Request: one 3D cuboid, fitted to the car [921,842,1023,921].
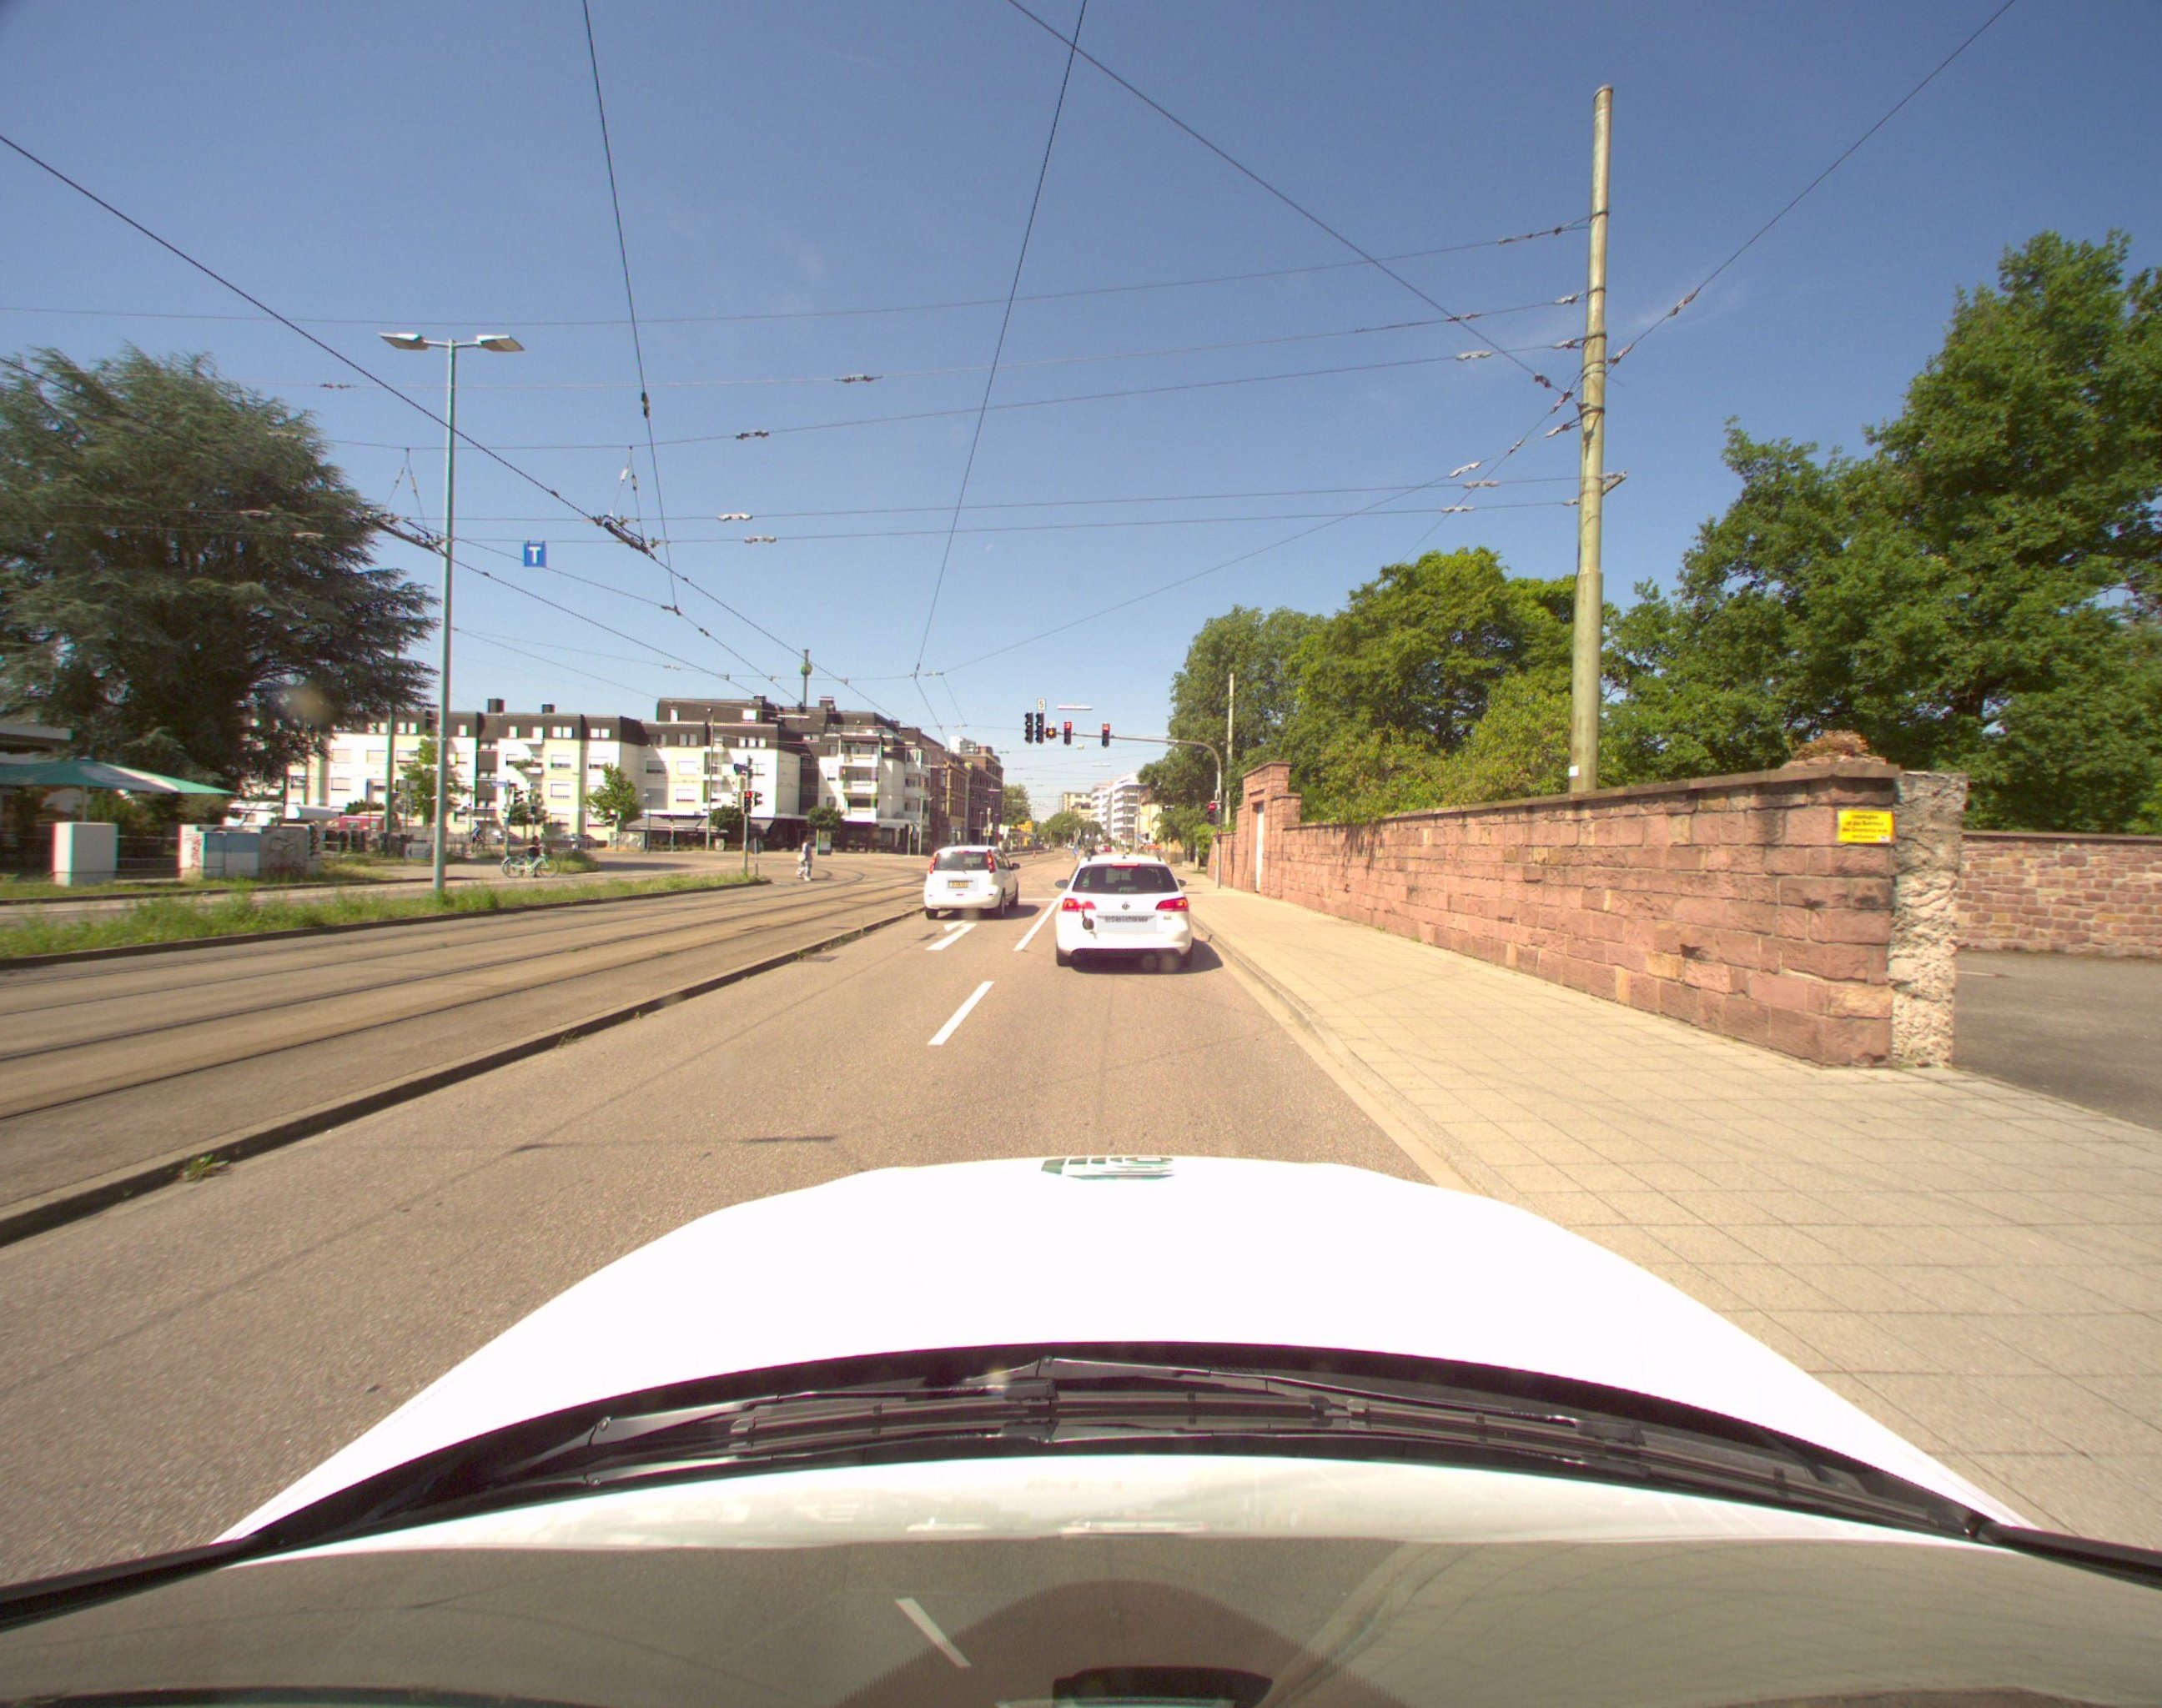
[{"bbox_3d":[-2.375,0.529,18.691,1.724,1.596,4.012,0,1,1],"label":"car"}]

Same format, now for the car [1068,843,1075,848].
[{"bbox_3d":[-2.725,-2.420,229.869,1.697,1.591,3.525,1,1,-8],"label":"car"}]

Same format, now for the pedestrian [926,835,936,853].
[{"bbox_3d":[-17.649,-1.160,95.940,0.934,2.013,0.990,1,0,-3],"label":"pedestrian"}]

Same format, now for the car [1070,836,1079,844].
[{"bbox_3d":[-2.191,-4.493,260.540,1.995,2.456,4.132,1,1,-12],"label":"car"}]

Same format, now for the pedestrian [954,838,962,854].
[{"bbox_3d":[-16.140,-1.069,107.221,0.935,2.013,0.989,1,0,-4],"label":"pedestrian"}]

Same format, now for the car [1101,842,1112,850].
[{"bbox_3d":[6.484,-2.015,207.805,1.995,2.013,3.984,1,1,-12],"label":"car"}]

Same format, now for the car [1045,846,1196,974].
[{"bbox_3d":[0.592,0.649,11.556,1.771,1.490,3.851,0,1,4],"label":"car"}]

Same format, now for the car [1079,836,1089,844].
[{"bbox_3d":[0.920,-4.201,243.762,1.996,2.013,3.982,3,1,-14],"label":"car"}]

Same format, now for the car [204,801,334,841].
[{"bbox_3d":[-49.658,-2.012,49.891,5.535,2.013,2.250,4,0,0],"label":"car"}]

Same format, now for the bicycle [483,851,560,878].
[{"bbox_3d":[-20.000,0.383,29.159,2.181,0.921,0.549,1,0,-26],"label":"bicycle"}]

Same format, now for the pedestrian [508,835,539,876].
[{"bbox_3d":[-20.242,0.045,29.573,0.817,1.487,0.561,1,0,-26],"label":"pedestrian"}]

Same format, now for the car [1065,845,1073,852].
[{"bbox_3d":[-2.703,-1.287,181.169,1.692,1.591,3.535,1,1,1],"label":"car"}]

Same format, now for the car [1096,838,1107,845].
[{"bbox_3d":[5.522,-3.408,222.193,1.995,2.013,3.984,1,1,-12],"label":"car"}]

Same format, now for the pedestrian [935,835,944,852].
[{"bbox_3d":[-16.694,-1.215,96.220,0.935,2.013,0.989,1,0,-4],"label":"pedestrian"}]

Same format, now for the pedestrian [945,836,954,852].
[{"bbox_3d":[-16.408,-1.252,101.700,0.934,2.013,0.990,1,0,-3],"label":"pedestrian"}]

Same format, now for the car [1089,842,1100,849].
[{"bbox_3d":[3.417,-2.169,209.750,1.995,1.903,3.983,1,1,-13],"label":"car"}]

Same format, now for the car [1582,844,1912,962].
[{"bbox_3d":[9.242,0.632,11.492,3.396,1.464,1.524,2,0,0],"label":"car"}]

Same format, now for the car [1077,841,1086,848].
[{"bbox_3d":[0.073,-2.905,248.337,1.995,2.013,3.984,1,1,-12],"label":"car"}]

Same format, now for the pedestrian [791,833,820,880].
[{"bbox_3d":[-10.397,0.077,30.748,0.825,1.738,0.930,1,0,-6],"label":"pedestrian"}]

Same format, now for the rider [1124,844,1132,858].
[{"bbox_3d":[5.873,-0.402,101.373,0.887,1.728,2.205,1,1,2],"label":"rider"}]
